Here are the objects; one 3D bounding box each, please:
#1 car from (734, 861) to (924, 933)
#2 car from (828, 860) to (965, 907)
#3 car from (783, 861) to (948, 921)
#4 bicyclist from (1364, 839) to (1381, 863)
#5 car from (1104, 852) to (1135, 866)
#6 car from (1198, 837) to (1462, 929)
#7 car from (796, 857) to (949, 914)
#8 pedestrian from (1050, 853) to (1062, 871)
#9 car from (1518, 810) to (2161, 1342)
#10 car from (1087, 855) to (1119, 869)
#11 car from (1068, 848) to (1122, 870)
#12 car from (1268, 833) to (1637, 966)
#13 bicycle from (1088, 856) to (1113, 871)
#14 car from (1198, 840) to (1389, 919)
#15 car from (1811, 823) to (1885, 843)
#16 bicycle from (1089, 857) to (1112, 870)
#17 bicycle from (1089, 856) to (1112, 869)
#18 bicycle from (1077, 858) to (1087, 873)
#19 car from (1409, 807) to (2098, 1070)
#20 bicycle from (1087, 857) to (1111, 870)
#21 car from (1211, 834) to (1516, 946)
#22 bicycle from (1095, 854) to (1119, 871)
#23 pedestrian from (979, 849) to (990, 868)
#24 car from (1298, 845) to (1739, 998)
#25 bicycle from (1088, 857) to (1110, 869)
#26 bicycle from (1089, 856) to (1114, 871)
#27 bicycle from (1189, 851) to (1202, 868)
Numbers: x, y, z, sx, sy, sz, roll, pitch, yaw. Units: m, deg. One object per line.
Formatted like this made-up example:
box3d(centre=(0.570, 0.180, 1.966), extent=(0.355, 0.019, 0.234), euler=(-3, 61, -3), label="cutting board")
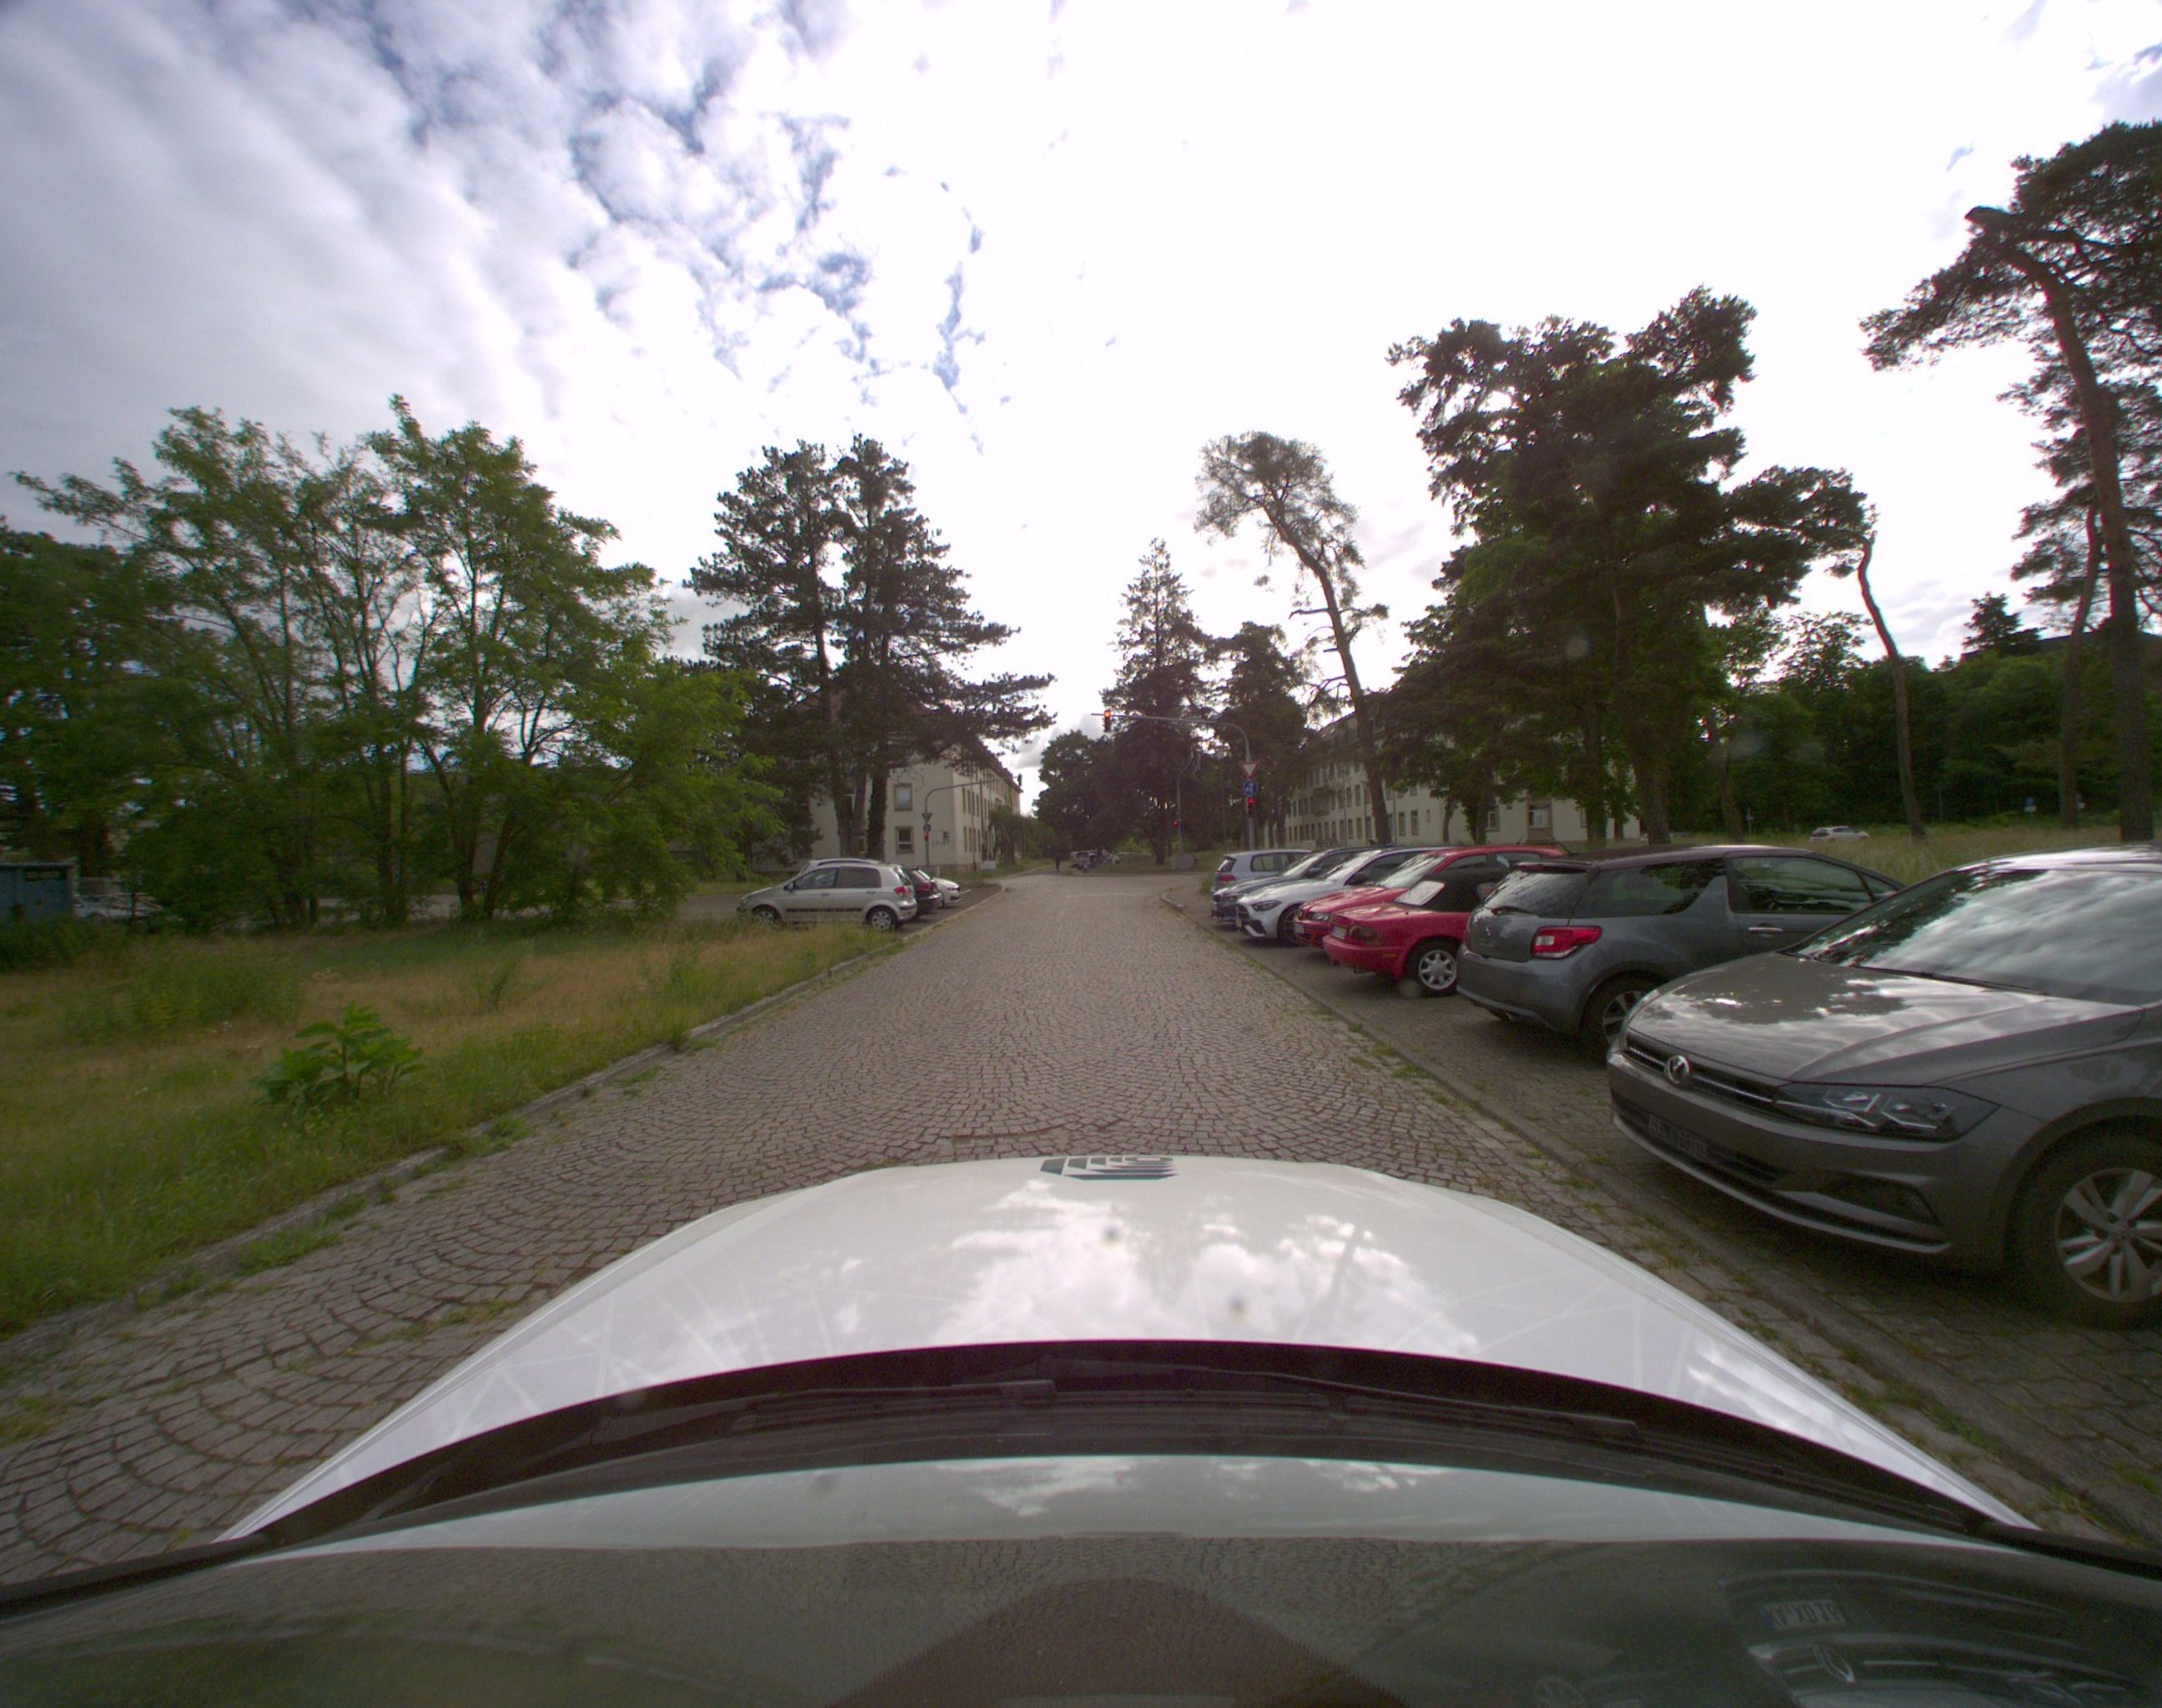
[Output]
box3d(centre=(-5.449, 0.921, 17.935), extent=(3.694, 1.479, 1.581), euler=(0, 0, -3), label="car")
box3d(centre=(-5.778, 0.918, 25.852), extent=(3.936, 1.421, 1.649), euler=(0, 0, -1), label="car")
box3d(centre=(-5.336, 0.899, 20.533), extent=(3.737, 1.428, 1.581), euler=(0, 0, -3), label="car")
box3d(centre=(17.499, -0.173, 48.912), extent=(0.747, 1.410, 0.605), euler=(-2, 0, 0), label="bicyclist")
box3d(centre=(4.172, 0.557, 89.605), extent=(3.224, 1.416, 1.723), euler=(-2, 0, -3), label="car")
box3d(centre=(4.866, 0.542, 16.355), extent=(4.669, 1.416, 1.869), euler=(-4, 0, -3), label="car")
box3d(centre=(-5.882, 0.883, 23.315), extent=(3.938, 1.563, 1.648), euler=(0, 0, -3), label="car")
box3d(centre=(-2.321, 0.734, 75.236), extent=(0.743, 1.618, 0.769), euler=(-2, 0, -29), label="pedestrian")
box3d(centre=(4.230, 0.607, 3.364), extent=(3.850, 1.472, 1.758), euler=(-4, 0, 0), label="car")
box3d(centre=(2.177, 0.783, 82.271), extent=(3.002, 1.268, 1.532), euler=(-2, 0, -6), label="car")
box3d(centre=(1.423, 0.540, 85.708), extent=(5.360, 1.925, 2.019), euler=(-4, 0, -9), label="car")
box3d(centre=(4.995, 0.585, 11.401), extent=(4.249, 1.416, 1.871), euler=(-4, 0, -1), label="car")
box3d(centre=(1.649, 0.798, 68.258), extent=(1.953, 1.117, 0.586), euler=(-2, 0, -7), label="bicycle")
box3d(centre=(4.806, 0.556, 18.806), extent=(3.913, 1.477, 1.643), euler=(-4, 0, 1), label="car")
box3d(centre=(57.930, -1.571, 61.549), extent=(3.931, 1.421, 1.651), euler=(0, 0, 2), label="car")
box3d(centre=(1.711, 0.826, 71.092), extent=(1.967, 1.069, 0.582), euler=(-2, 0, -30), label="bicycle")
box3d(centre=(1.741, 0.766, 72.446), extent=(1.964, 1.069, 0.583), euler=(-2, 0, -25), label="bicycle")
box3d(centre=(0.092, 0.927, 64.419), extent=(0.602, 1.132, 1.958), euler=(-2, 0, -5), label="bicycle")
box3d(centre=(4.842, 0.552, 6.289), extent=(3.851, 1.472, 1.757), euler=(-4, 0, -1), label="car")
box3d(centre=(1.552, 0.827, 69.741), extent=(1.967, 1.069, 0.582), euler=(-2, 0, -30), label="bicycle")
box3d(centre=(4.636, 0.550, 13.667), extent=(4.421, 1.416, 1.865), euler=(-4, 0, -9), label="car")
box3d(centre=(2.190, 0.699, 69.093), extent=(1.953, 1.384, 0.586), euler=(-2, 0, -7), label="bicycle")
box3d(centre=(-9.868, 0.444, 83.293), extent=(0.779, 1.837, 0.733), euler=(-2, 0, -31), label="pedestrian")
box3d(centre=(4.570, 0.659, 8.914), extent=(3.851, 1.236, 1.757), euler=(-4, 0, -1), label="car")
box3d(centre=(1.650, 0.820, 74.777), extent=(1.964, 1.069, 0.583), euler=(-2, 0, -25), label="bicycle")
box3d(centre=(1.708, 0.771, 67.626), extent=(1.953, 1.132, 0.586), euler=(-2, 0, -7), label="bicycle")
box3d(centre=(7.811, 0.393, 55.556), extent=(0.584, 1.106, 1.961), euler=(-2, 0, 0), label="bicycle")
